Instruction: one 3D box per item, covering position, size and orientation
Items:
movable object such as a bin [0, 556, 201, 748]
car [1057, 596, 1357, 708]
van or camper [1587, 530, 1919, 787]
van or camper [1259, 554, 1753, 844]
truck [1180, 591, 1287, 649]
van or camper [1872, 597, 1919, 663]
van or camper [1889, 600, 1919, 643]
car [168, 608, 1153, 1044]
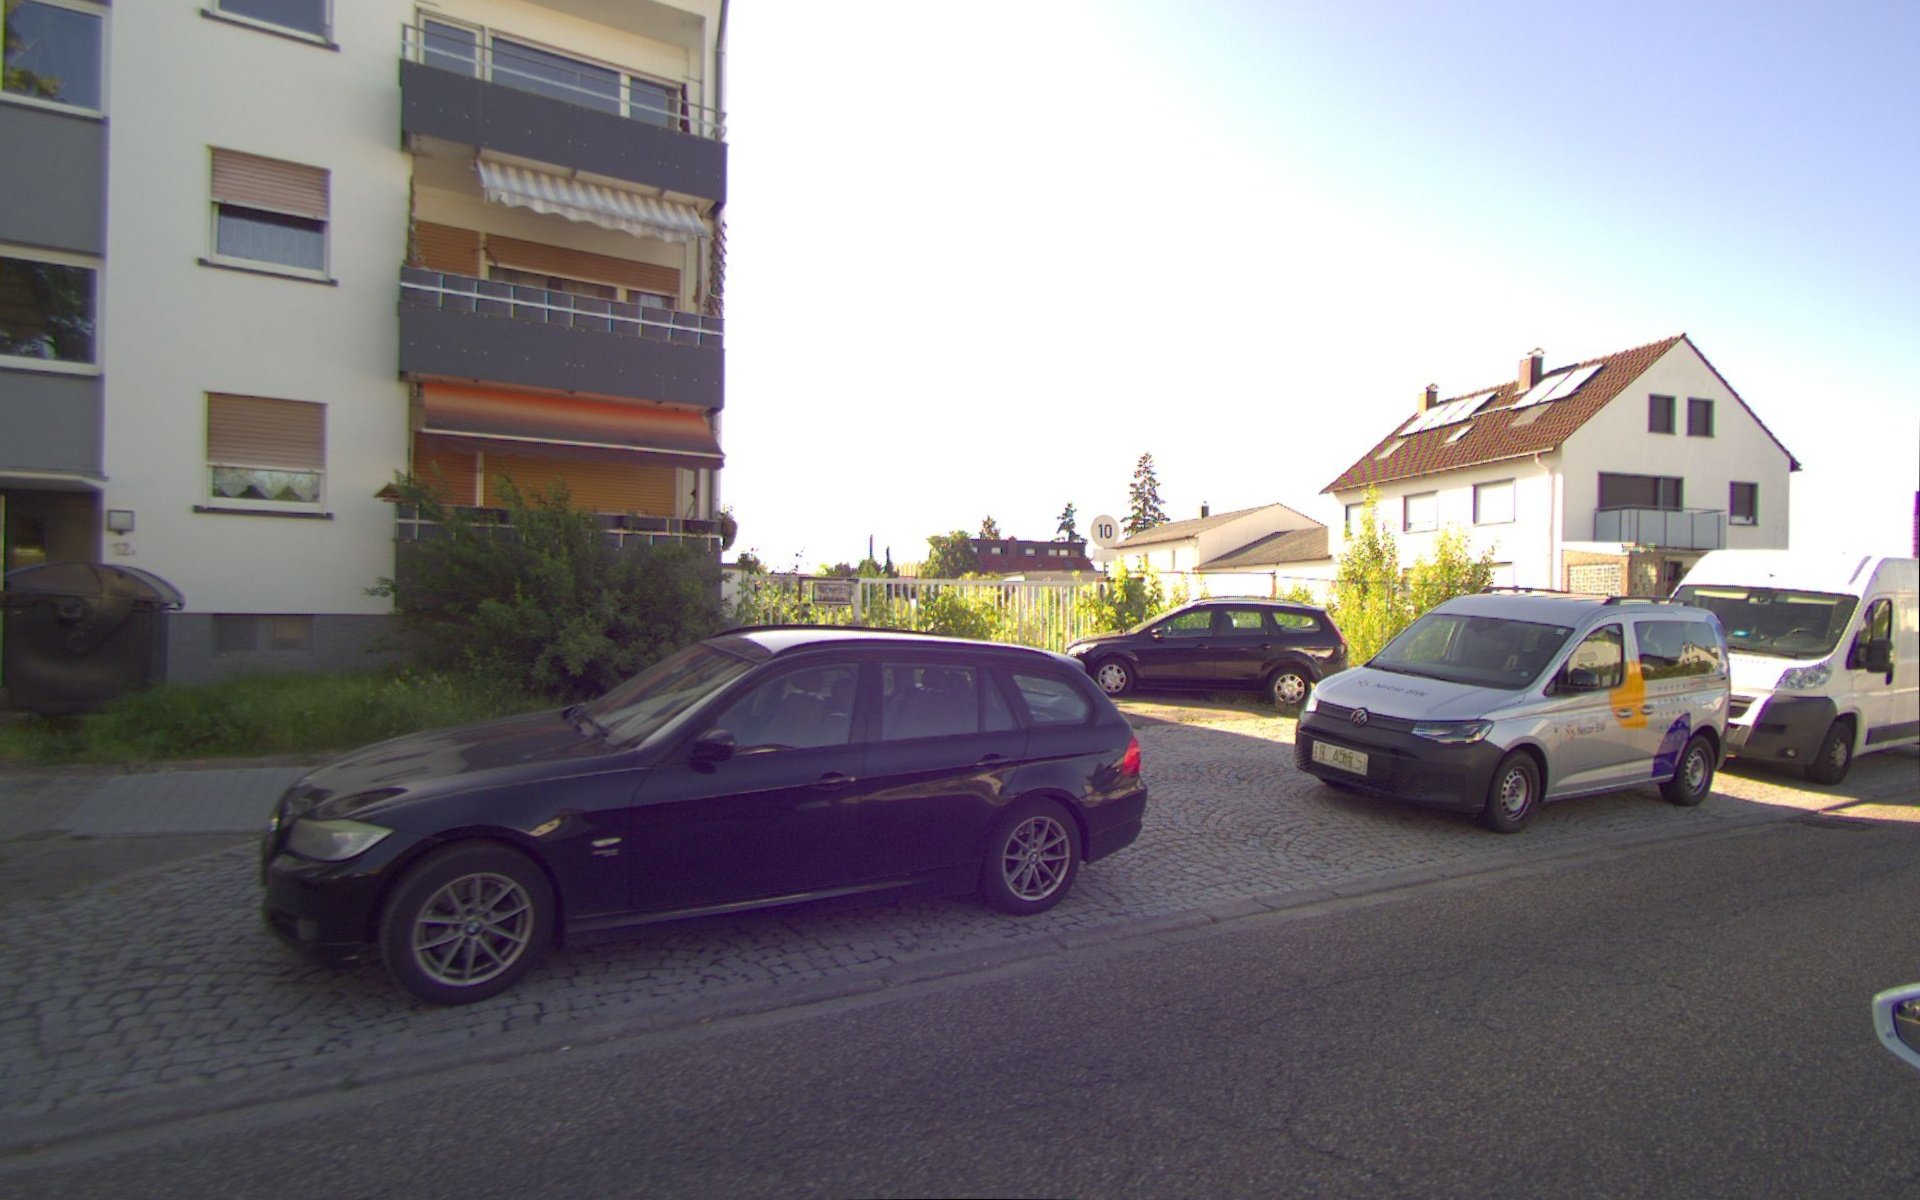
[{"bbox_3d":[-7.370,0.418,8.654,1.101,1.502,1.227,1,0,-27],"label":"movable object such as a bin"},{"bbox_3d":[3.742,0.757,15.672,4.299,1.534,1.615,1,0,10],"label":"car"},{"bbox_3d":[10.220,0.581,12.181,5.492,2.523,2.111,1,2,-31],"label":"van or camper"},{"bbox_3d":[4.949,0.715,9.019,4.228,2.041,1.869,1,3,-30],"label":"van or camper"},{"bbox_3d":[12.983,0.934,48.303,2.144,2.551,6.578,1,-1,-12],"label":"truck"},{"bbox_3d":[35.462,1.094,35.089,2.208,2.351,4.891,2,0,-17],"label":"van or camper"},{"bbox_3d":[64.366,1.468,66.072,6.173,2.751,2.162,1,0,-20],"label":"van or camper"},{"bbox_3d":[-1.214,0.831,5.190,4.258,1.454,1.603,1,2,-28],"label":"car"}]
